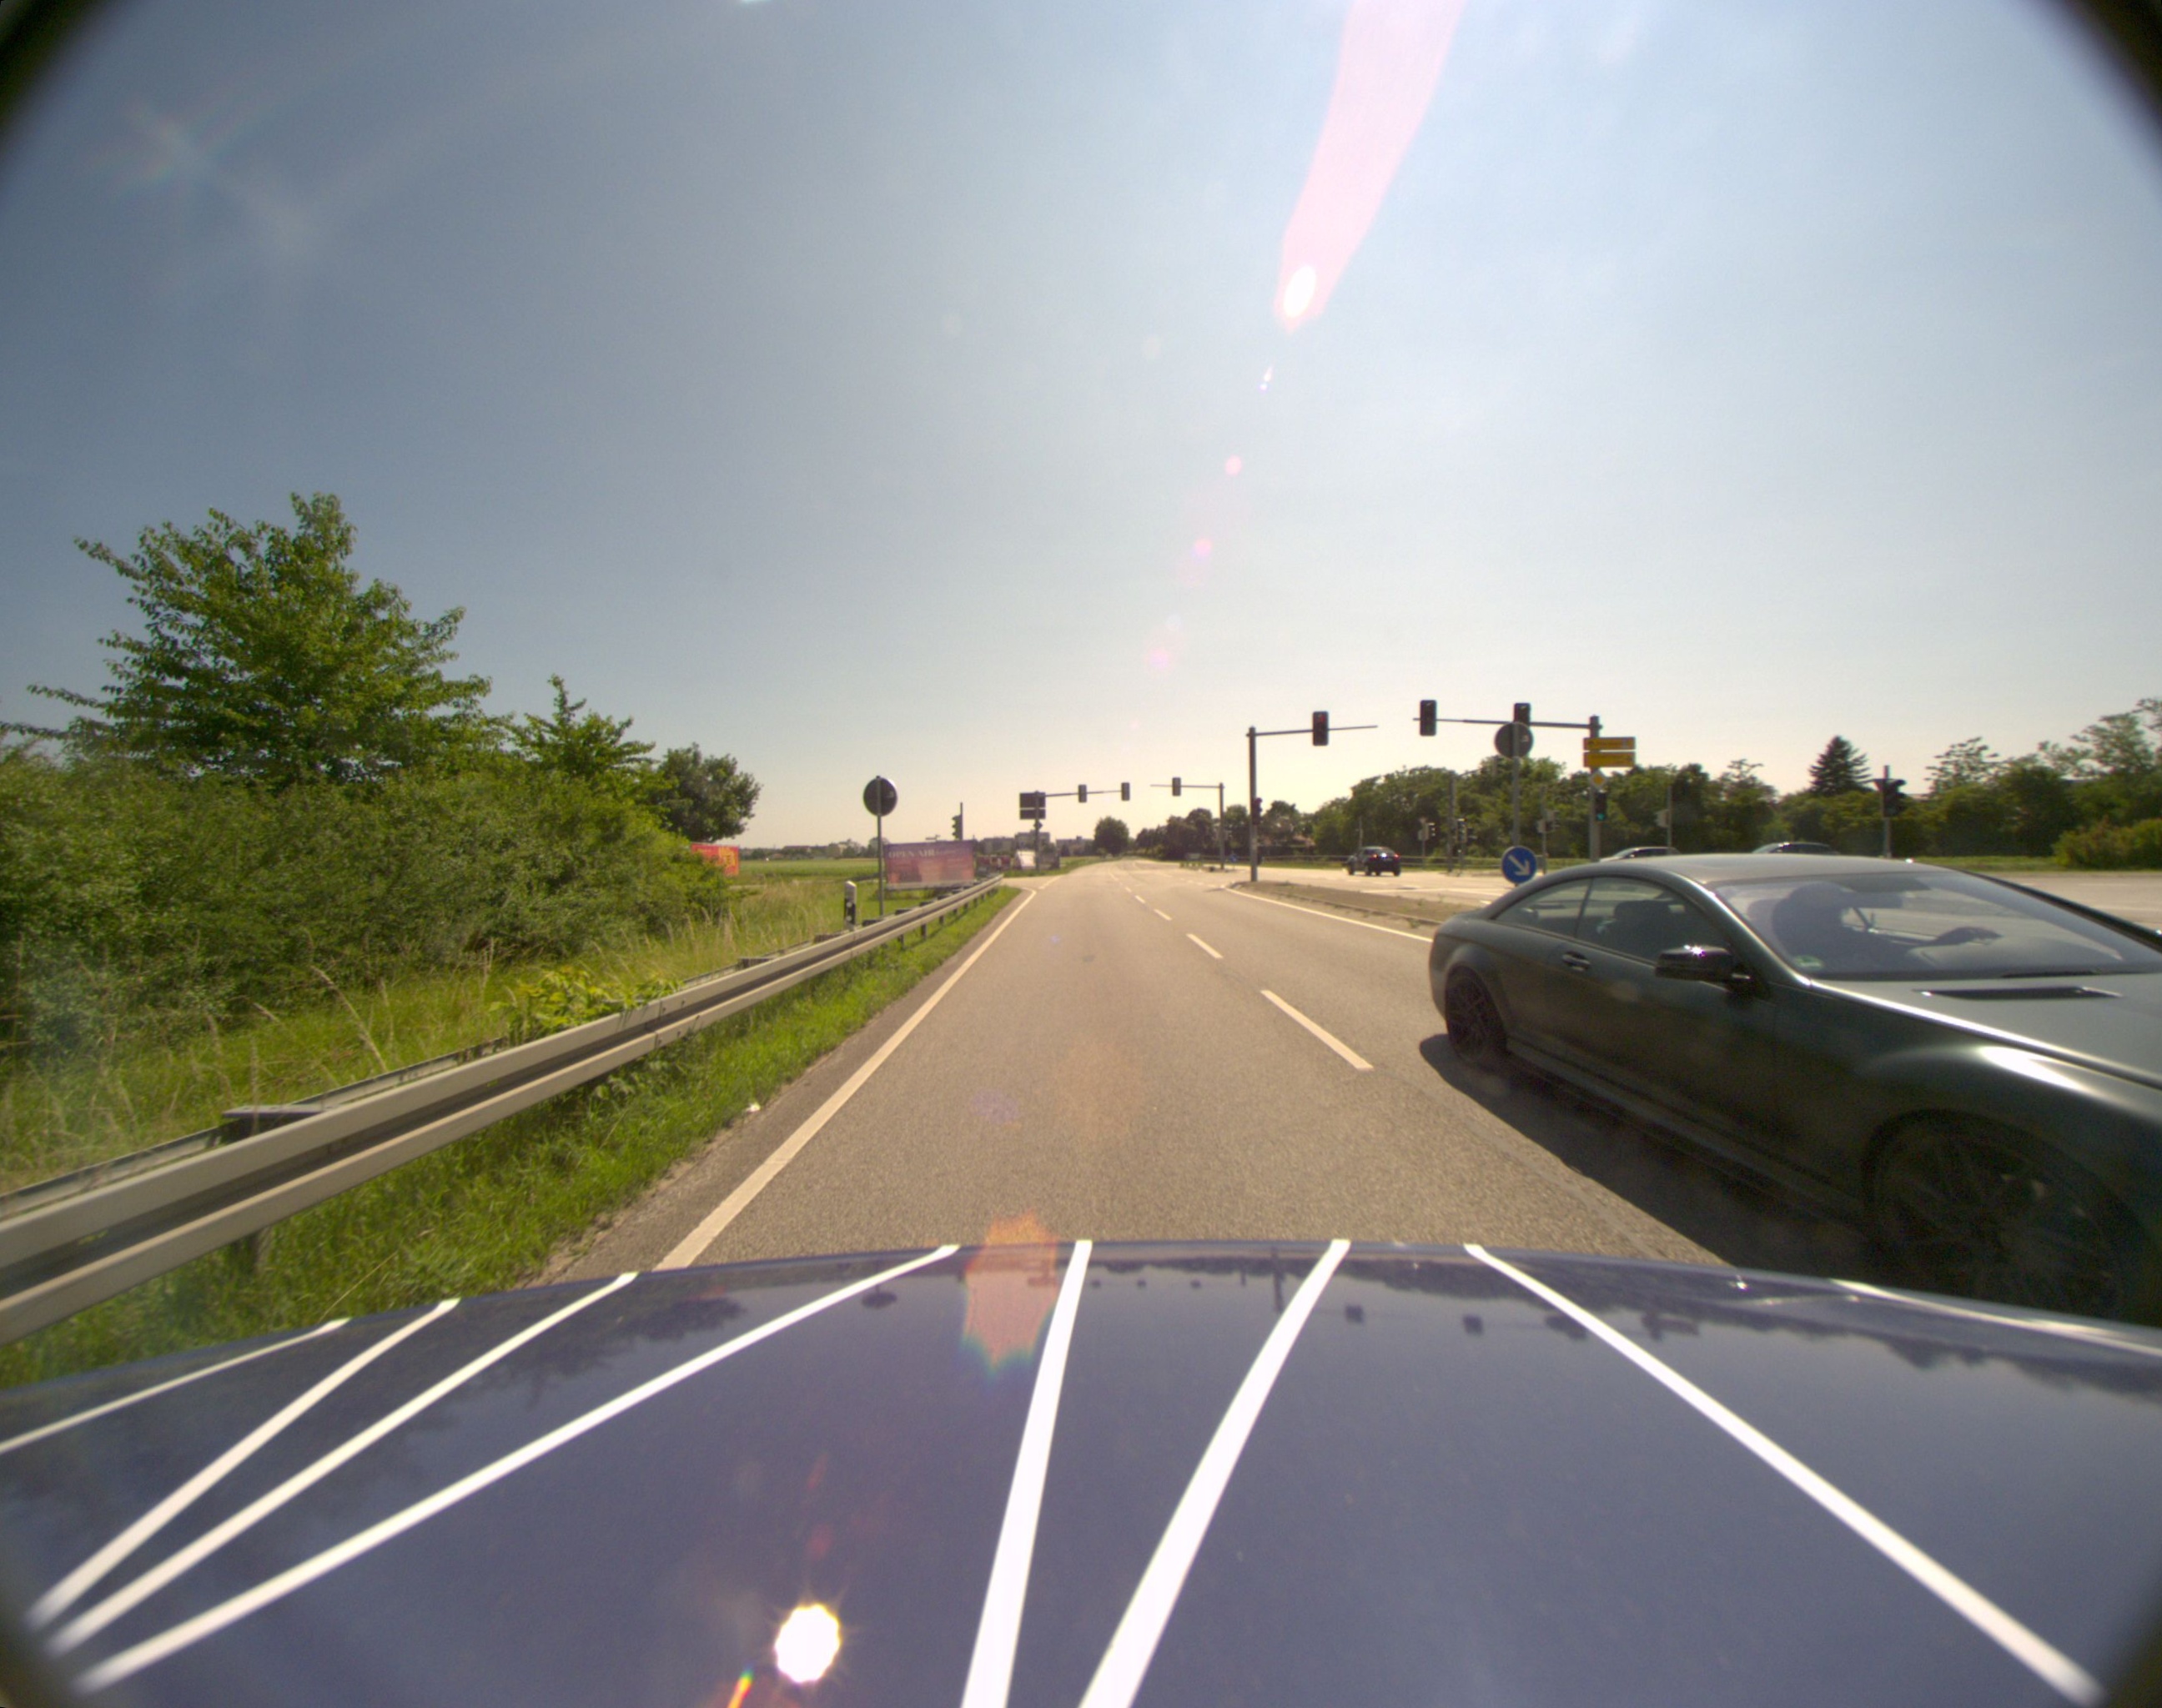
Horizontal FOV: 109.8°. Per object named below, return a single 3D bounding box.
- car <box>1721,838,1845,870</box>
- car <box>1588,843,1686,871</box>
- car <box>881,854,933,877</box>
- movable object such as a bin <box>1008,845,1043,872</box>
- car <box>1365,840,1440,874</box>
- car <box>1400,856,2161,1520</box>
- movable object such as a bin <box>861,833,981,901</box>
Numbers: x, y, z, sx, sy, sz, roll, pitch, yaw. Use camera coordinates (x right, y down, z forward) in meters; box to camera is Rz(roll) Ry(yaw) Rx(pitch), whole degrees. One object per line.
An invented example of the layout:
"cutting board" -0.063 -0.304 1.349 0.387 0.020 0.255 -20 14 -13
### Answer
"car" 35.675 0.007 38.752 4.360 1.585 1.637 0 1 18
"car" 29.571 0.176 40.513 3.873 1.379 1.637 -1 0 15
"car" -12.293 0.827 53.882 3.346 1.491 1.400 -2 1 -4
"movable object such as a bin" -5.261 0.372 72.736 1.523 2.349 4.430 -2 1 20
"car" 16.143 0.121 38.379 1.835 1.591 4.304 -1 1 -2
"car" 3.411 0.790 3.493 1.815 1.441 4.876 -3 0 0
"movable object such as a bin" -5.930 0.466 28.444 4.105 2.318 1.277 -3 1 -2
